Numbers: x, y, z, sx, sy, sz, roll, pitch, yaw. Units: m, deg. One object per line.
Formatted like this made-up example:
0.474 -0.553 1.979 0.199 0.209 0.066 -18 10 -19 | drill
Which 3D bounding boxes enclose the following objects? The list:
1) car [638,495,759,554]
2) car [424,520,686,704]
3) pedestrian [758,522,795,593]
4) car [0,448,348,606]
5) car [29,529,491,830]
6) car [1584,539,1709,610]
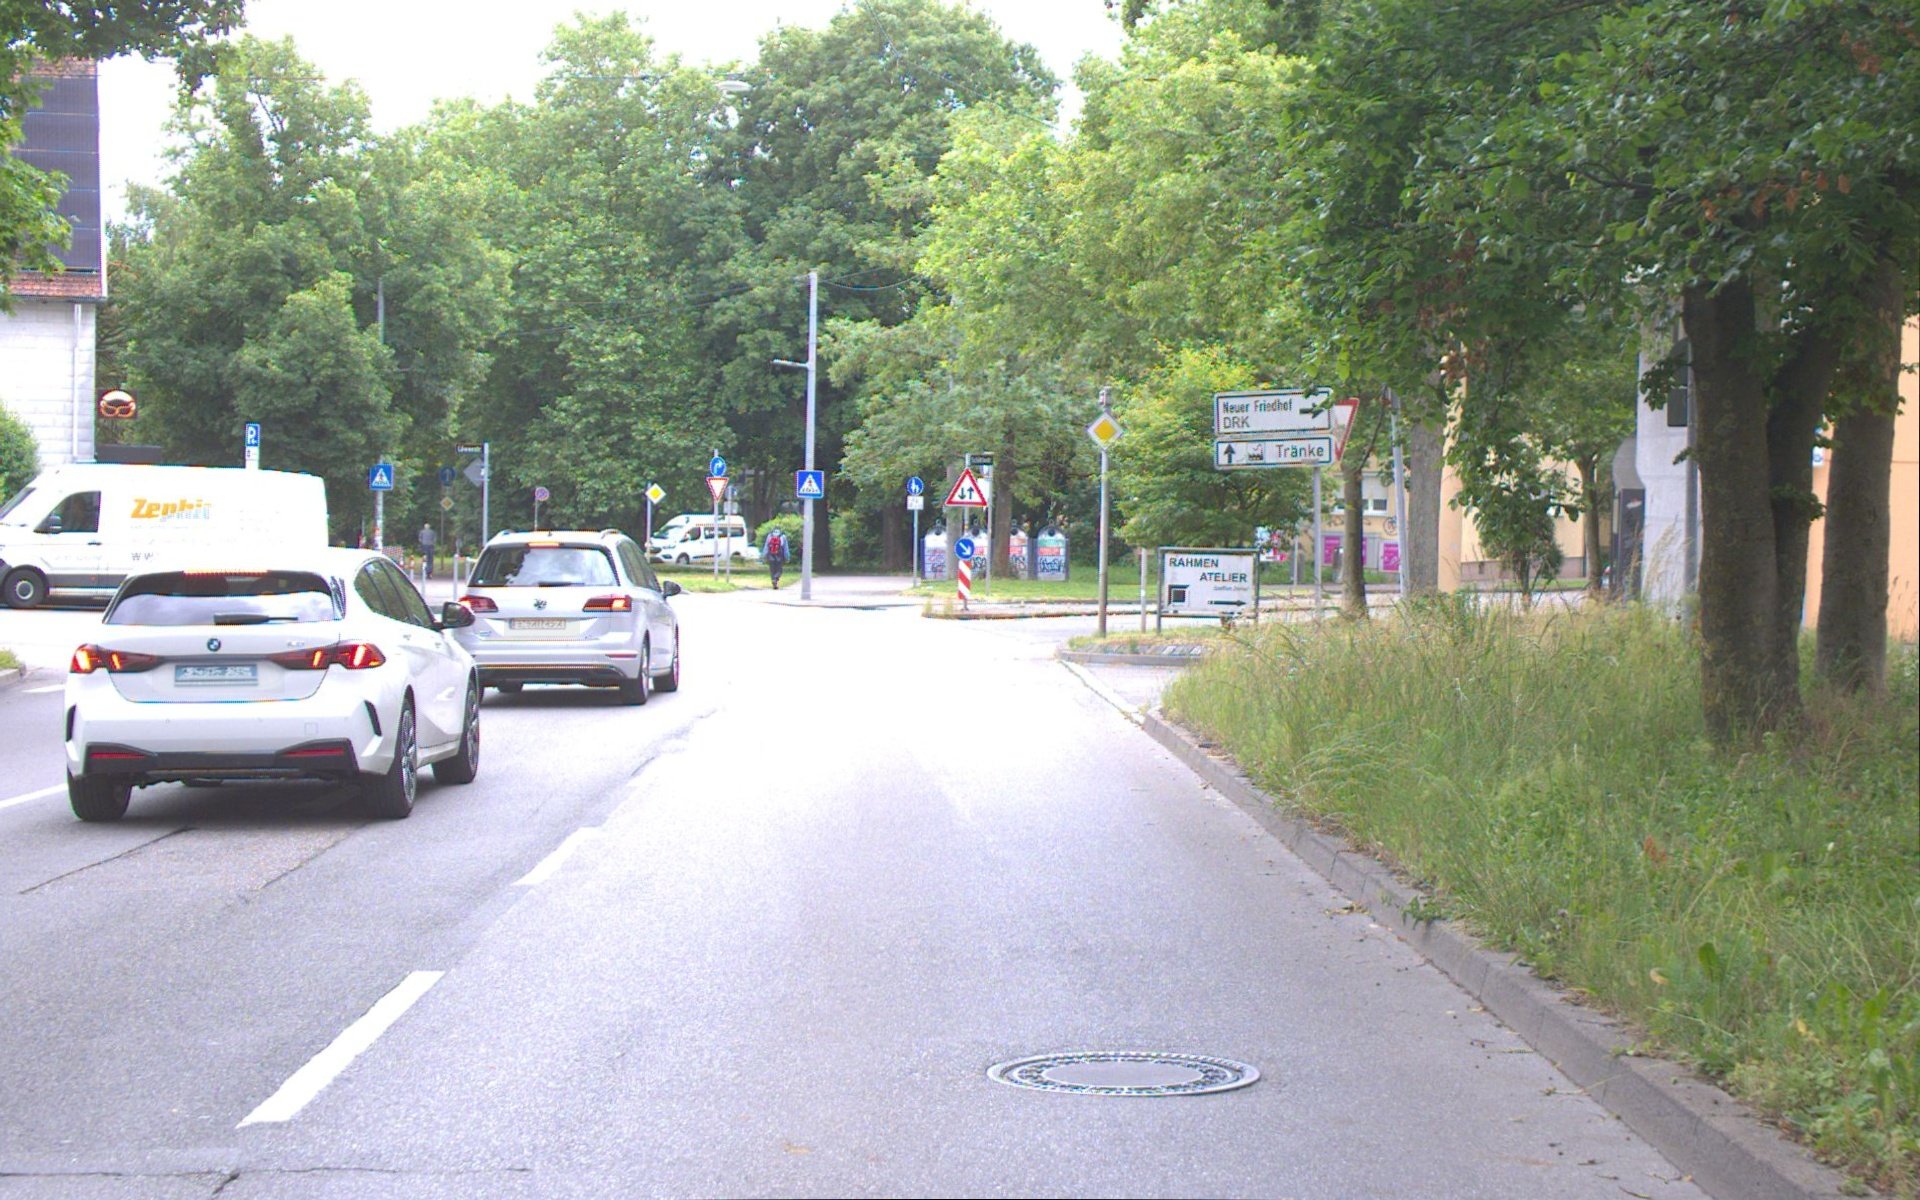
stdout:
-11.512 -3.325 151.568 2.136 2.289 5.373 5 2 38 | car
-3.731 0.061 32.341 1.923 1.568 4.000 1 2 1 | car
-5.067 -1.184 95.026 0.923 1.865 1.019 -3 4 -4 | pedestrian
-14.369 -1.274 60.074 6.959 2.513 2.084 1 3 -38 | car
-3.873 0.374 19.716 1.796 1.512 4.207 -1 1 0 | car
16.911 -0.615 84.588 1.877 1.563 4.013 5 2 27 | car
